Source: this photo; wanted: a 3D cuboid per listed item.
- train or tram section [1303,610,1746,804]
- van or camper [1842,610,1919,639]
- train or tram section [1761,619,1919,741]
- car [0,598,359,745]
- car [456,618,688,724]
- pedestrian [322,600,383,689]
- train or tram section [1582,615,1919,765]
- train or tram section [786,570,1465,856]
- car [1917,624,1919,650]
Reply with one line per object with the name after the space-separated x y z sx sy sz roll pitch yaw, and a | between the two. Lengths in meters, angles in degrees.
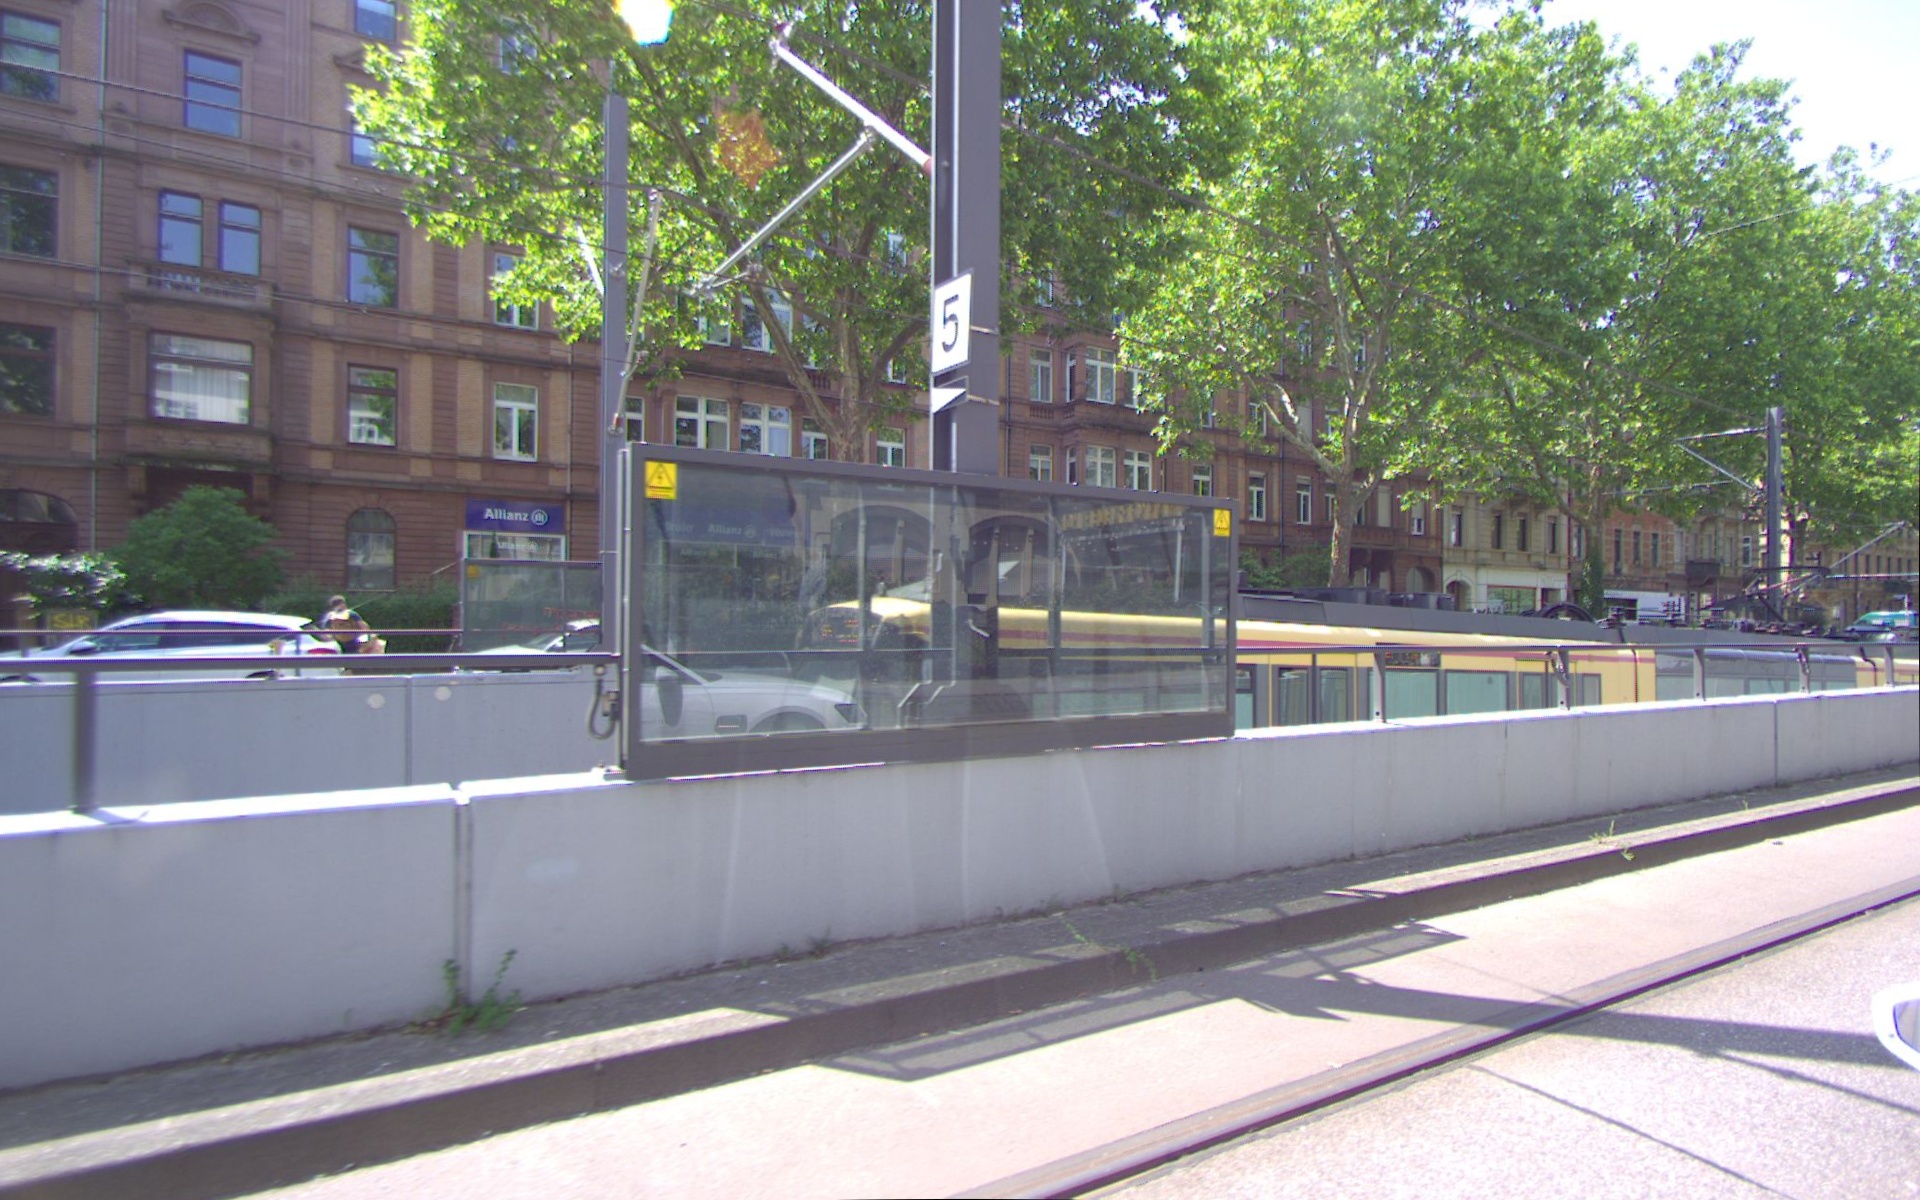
9.434 1.494 16.474 7.908 2.542 2.716 1 -1 -30 | train or tram section
67.371 1.768 73.413 1.978 2.040 3.965 1 -1 -32 | van or camper
23.693 1.788 24.802 9.969 2.542 2.716 1 -1 -30 | train or tram section
-11.673 0.972 14.937 4.665 1.930 1.983 1 -1 -32 | car
-6.918 1.183 17.983 3.665 1.707 1.645 1 0 -32 | car
-10.150 0.737 16.795 0.717 1.445 0.515 1 0 19 | pedestrian
16.474 1.639 20.604 8.390 2.542 2.716 1 -1 -30 | train or tram section
2.352 1.078 12.265 8.417 2.542 2.716 1 -1 -31 | train or tram section
66.692 2.506 67.882 3.954 1.706 1.983 1 -1 -31 | car
